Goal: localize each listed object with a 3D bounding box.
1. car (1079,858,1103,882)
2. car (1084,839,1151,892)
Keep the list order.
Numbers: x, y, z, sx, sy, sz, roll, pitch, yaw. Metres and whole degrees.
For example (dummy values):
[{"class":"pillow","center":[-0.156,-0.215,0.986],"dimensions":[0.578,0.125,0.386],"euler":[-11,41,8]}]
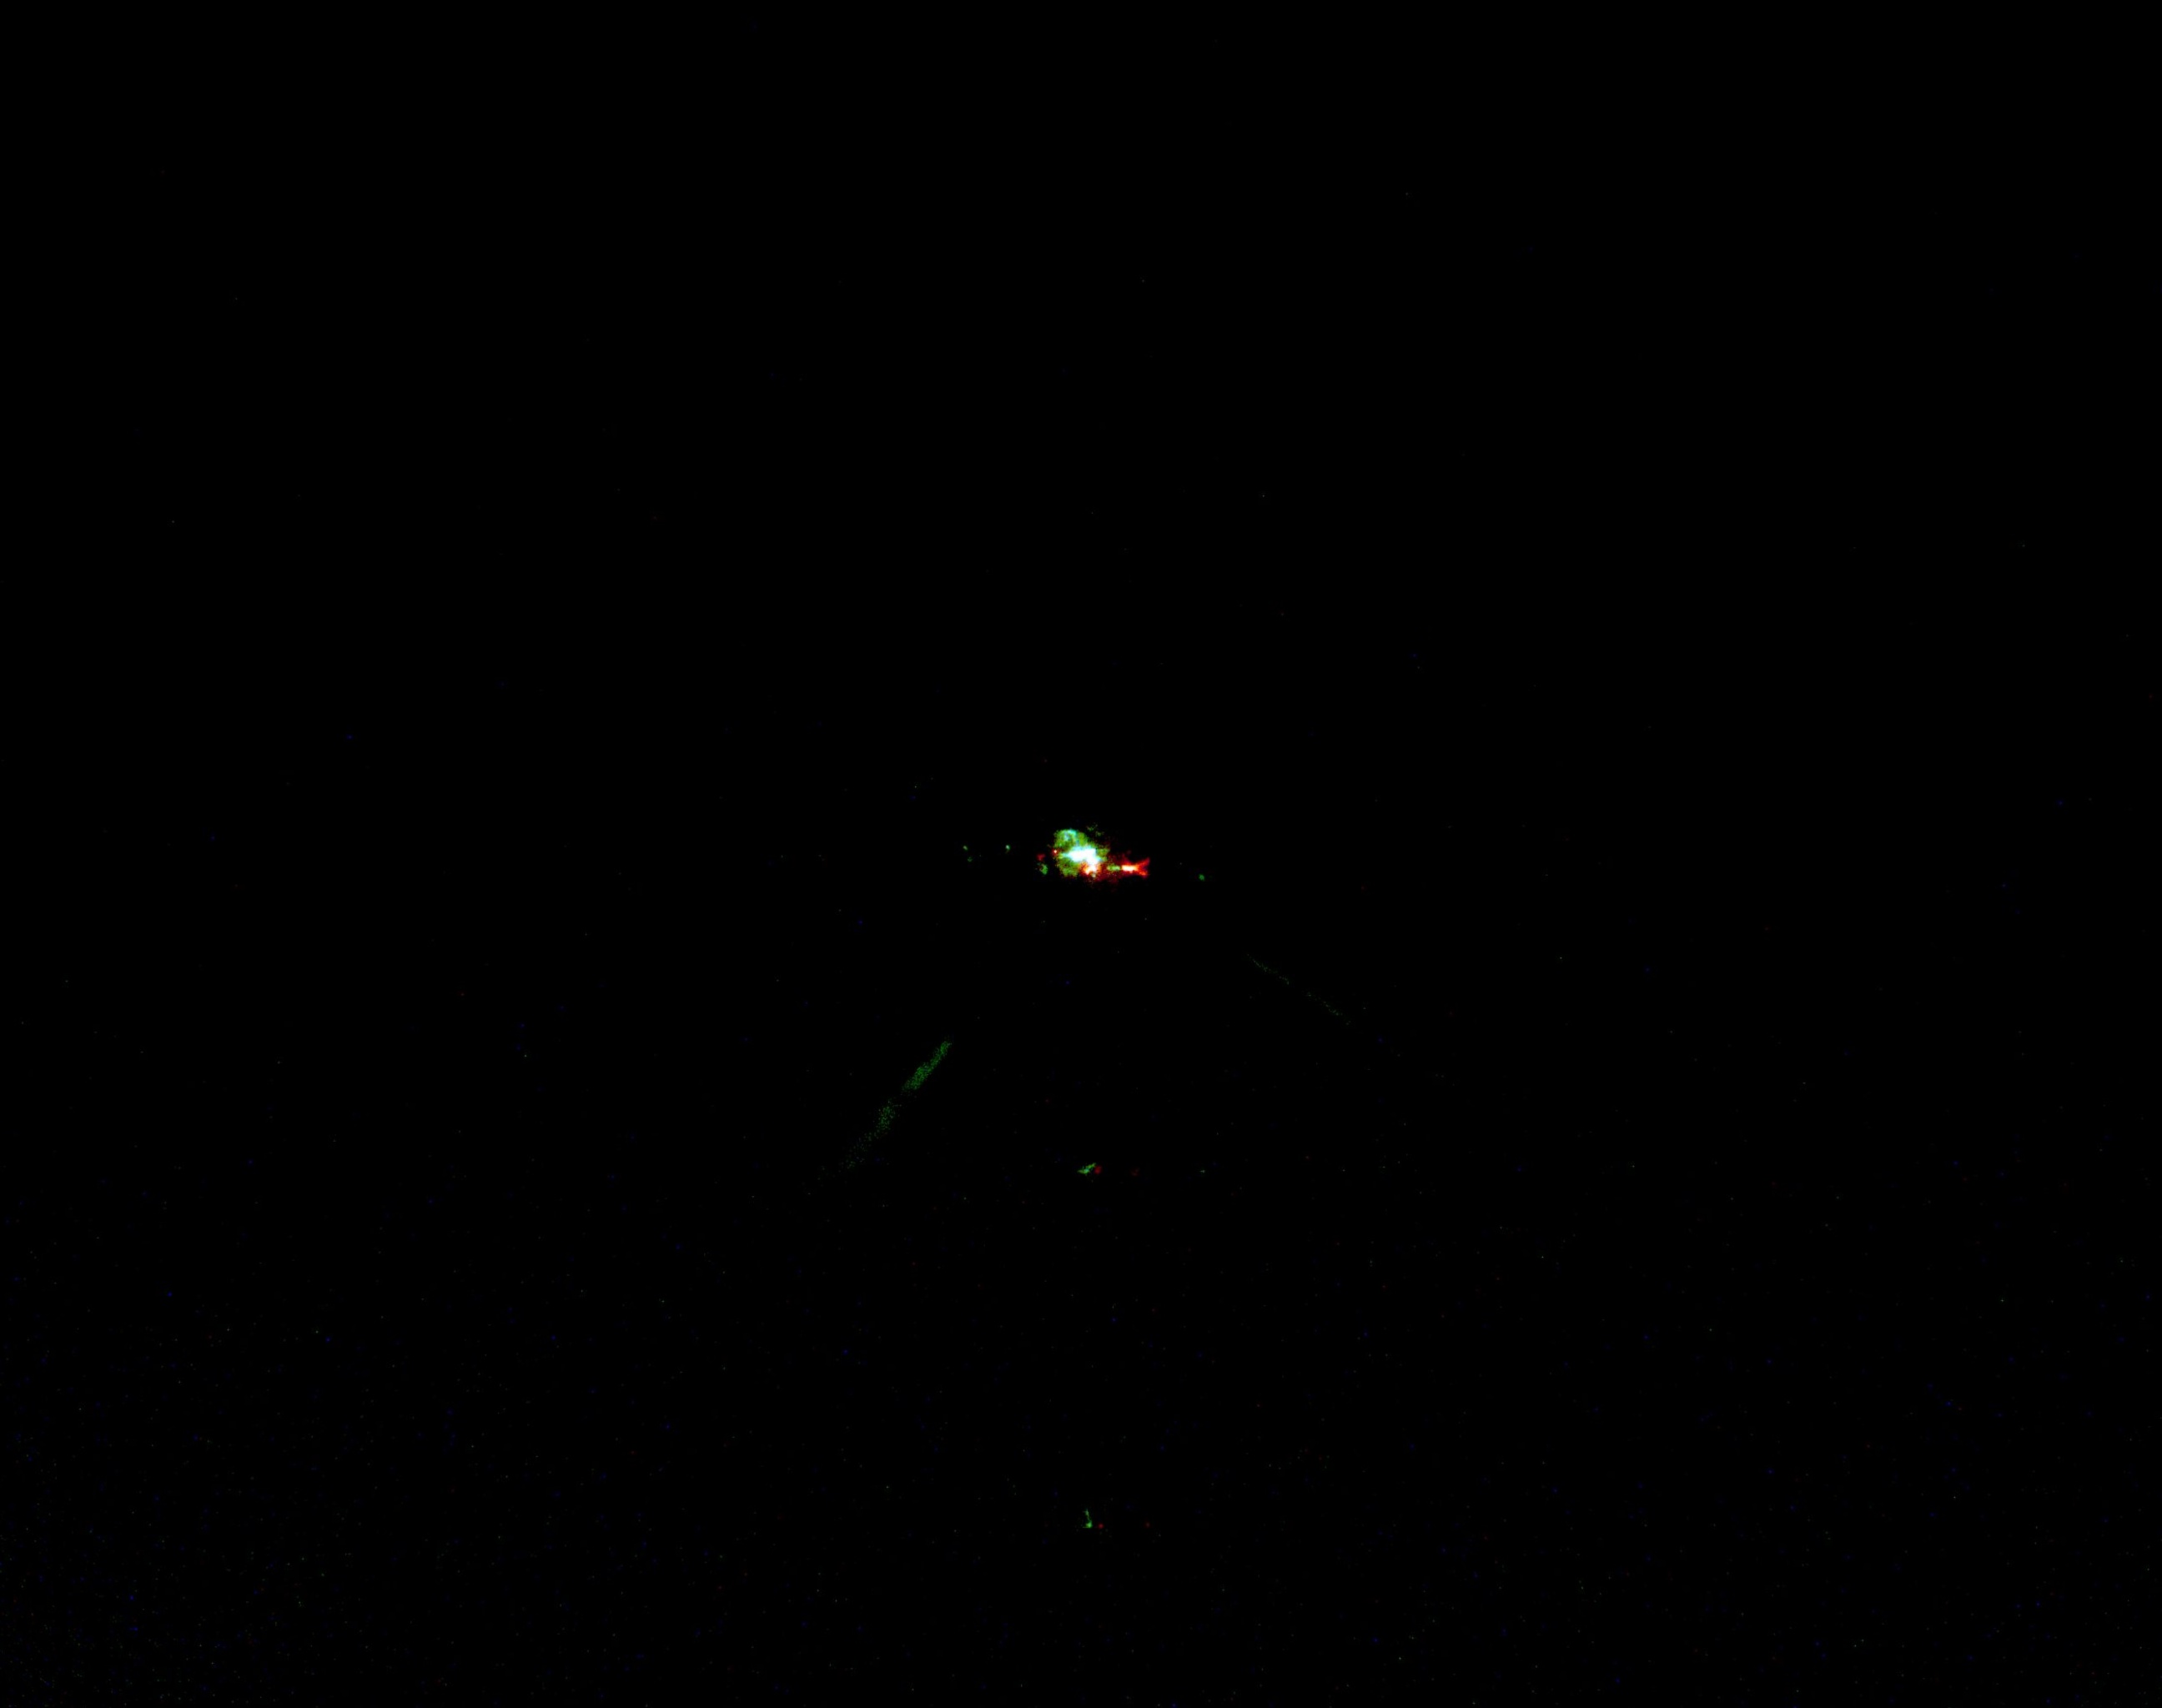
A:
[{"class":"car","center":[0.833,1.394,71.370],"dimensions":[1.988,2.014,3.998],"euler":[-3,-1,-1]},{"class":"car","center":[1.404,0.443,33.115],"dimensions":[2.449,1.958,4.911],"euler":[-1,0,0]}]
